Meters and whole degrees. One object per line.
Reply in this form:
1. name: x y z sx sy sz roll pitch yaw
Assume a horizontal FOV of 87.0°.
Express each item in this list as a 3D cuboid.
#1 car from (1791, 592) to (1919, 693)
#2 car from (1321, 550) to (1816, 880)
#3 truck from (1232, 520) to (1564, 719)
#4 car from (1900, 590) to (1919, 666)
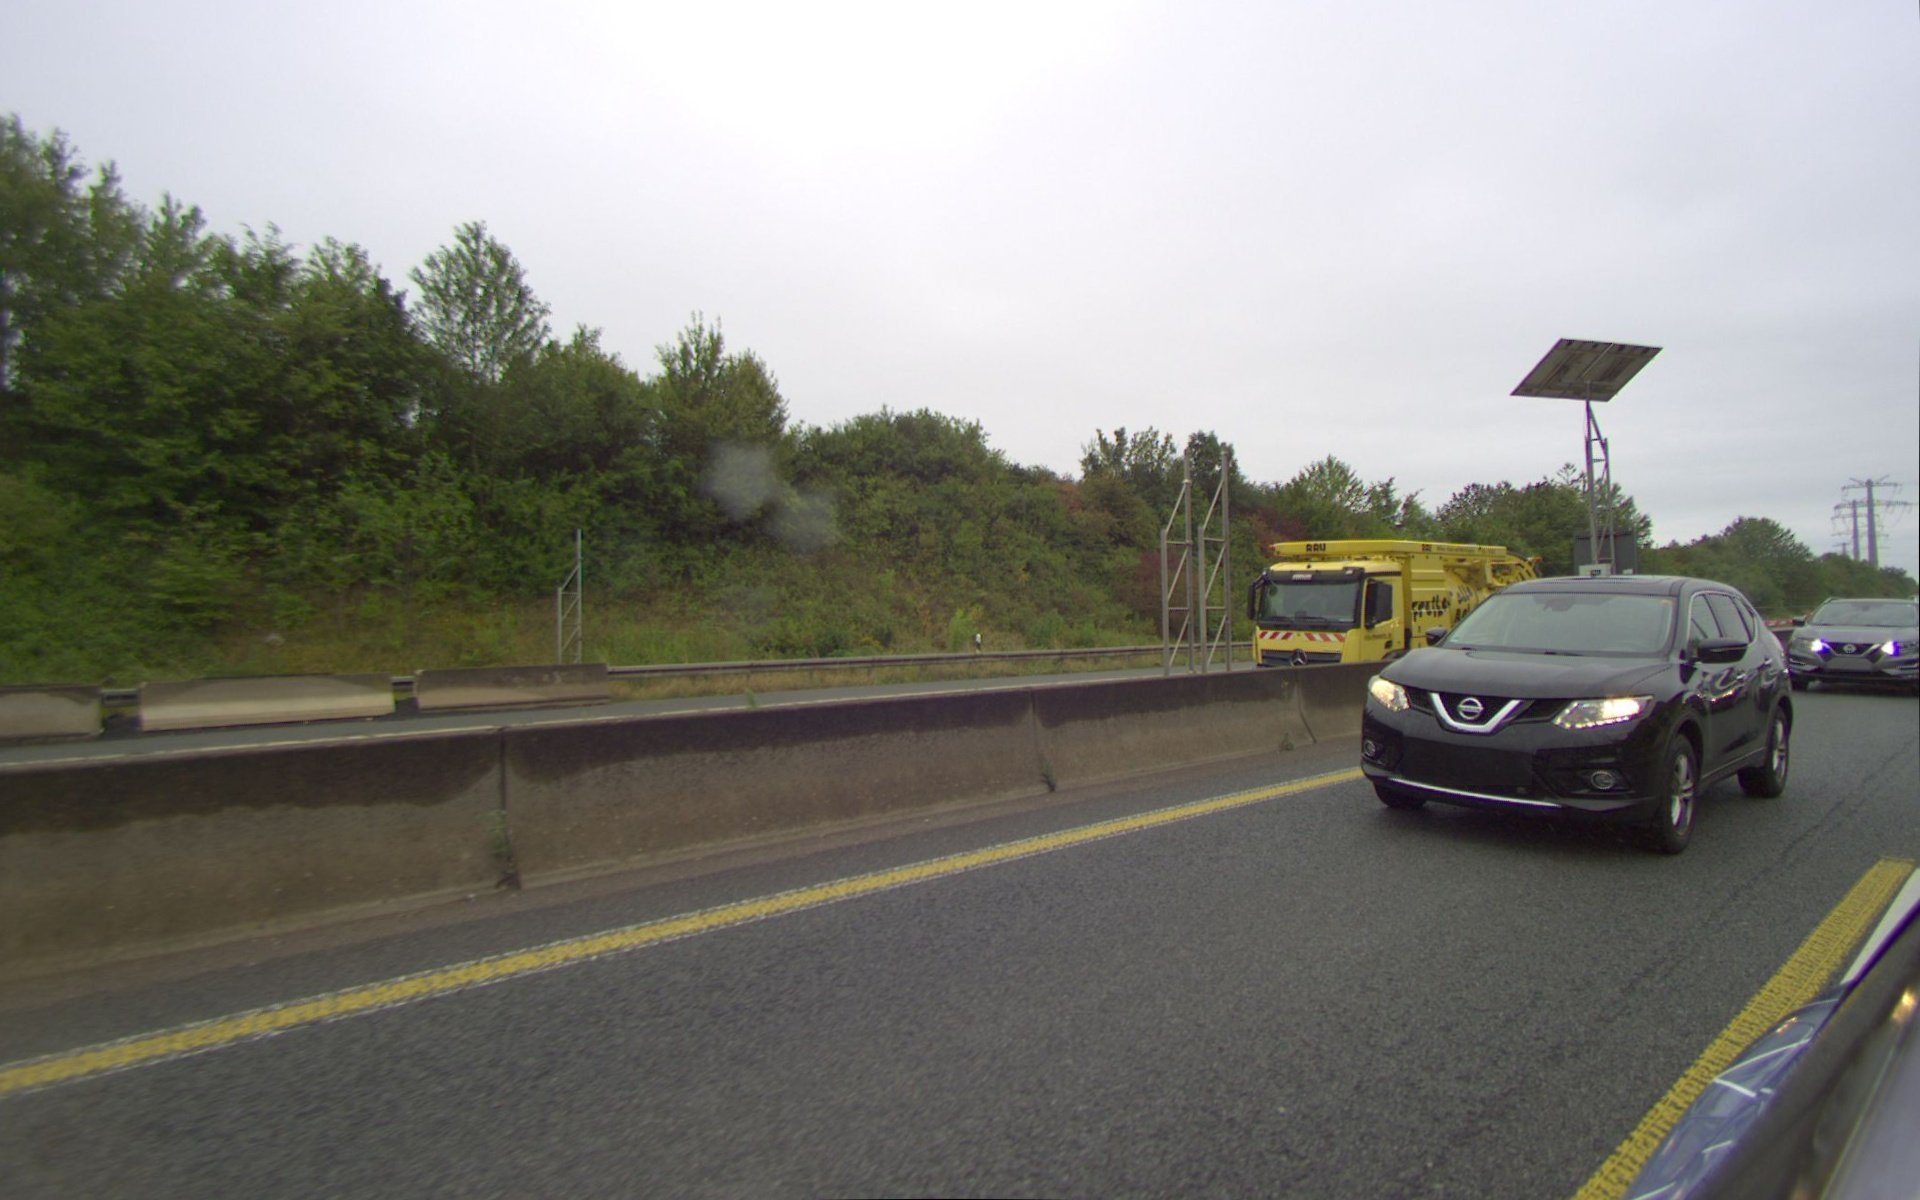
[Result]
1. car: 15.648 0.632 17.204 4.053 1.509 1.782 -1 1 -42
2. car: 4.671 0.564 7.434 4.561 1.696 1.892 -1 1 -42
3. truck: 9.720 0.292 21.693 9.405 3.467 2.618 -1 0 -40
4. car: 22.509 0.597 22.683 4.053 1.618 1.782 -1 0 -42
